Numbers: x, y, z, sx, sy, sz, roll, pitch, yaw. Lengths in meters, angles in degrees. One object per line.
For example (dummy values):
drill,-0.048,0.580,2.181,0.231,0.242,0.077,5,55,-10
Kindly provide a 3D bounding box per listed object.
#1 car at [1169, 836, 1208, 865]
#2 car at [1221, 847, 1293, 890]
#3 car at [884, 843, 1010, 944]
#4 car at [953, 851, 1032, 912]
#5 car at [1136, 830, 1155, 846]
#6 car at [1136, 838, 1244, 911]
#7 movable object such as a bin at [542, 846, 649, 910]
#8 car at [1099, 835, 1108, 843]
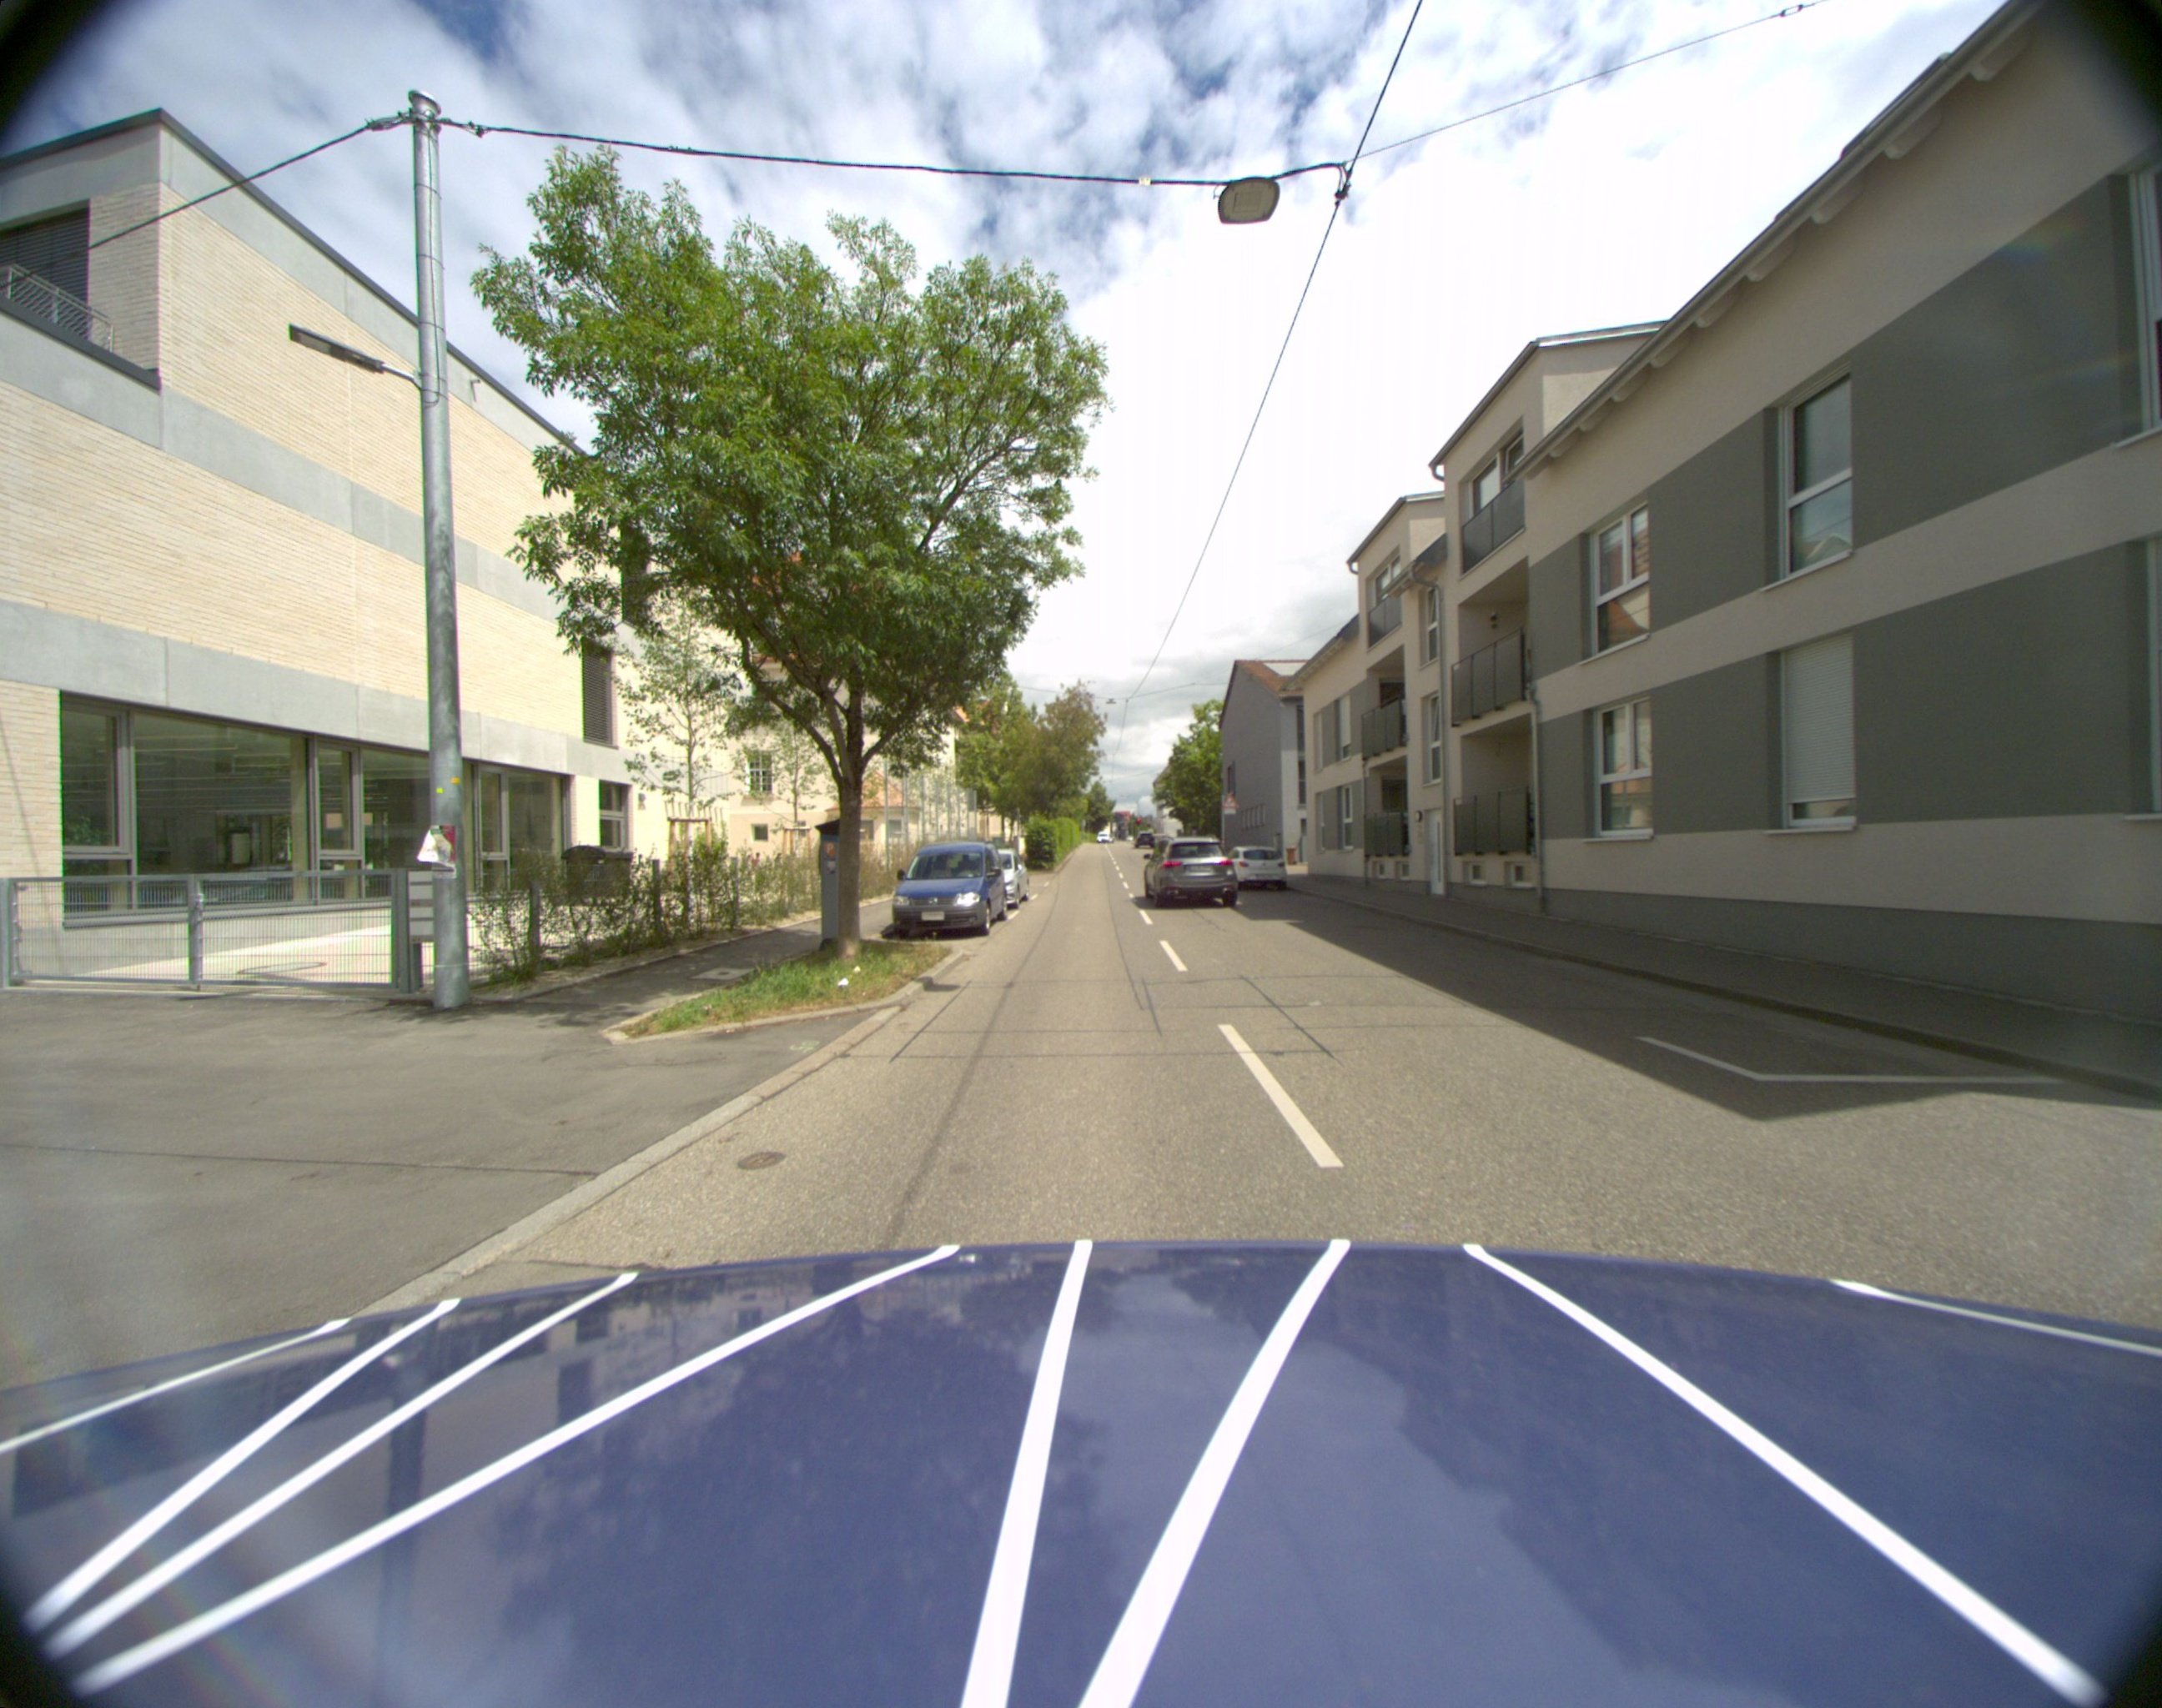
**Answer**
car,6.123,-0.238,43.665,1.737,1.480,4.065,0,2,1
car,5.877,0.456,25.745,1.665,1.322,3.474,-1,0,1
car,-2.536,0.684,15.346,1.698,1.733,4.159,-1,0,1
car,-2.356,0.694,21.031,1.677,1.510,3.670,-1,0,1
car,6.500,-1.674,76.650,1.672,1.545,3.964,0,2,1
car,2.740,0.491,20.163,1.946,1.709,4.595,0,0,-3
movable object such as a bin,-11.617,0.543,18.280,1.351,1.438,1.807,-1,1,2
car,3.516,-2.389,118.943,1.298,1.148,2.983,-4,0,1
